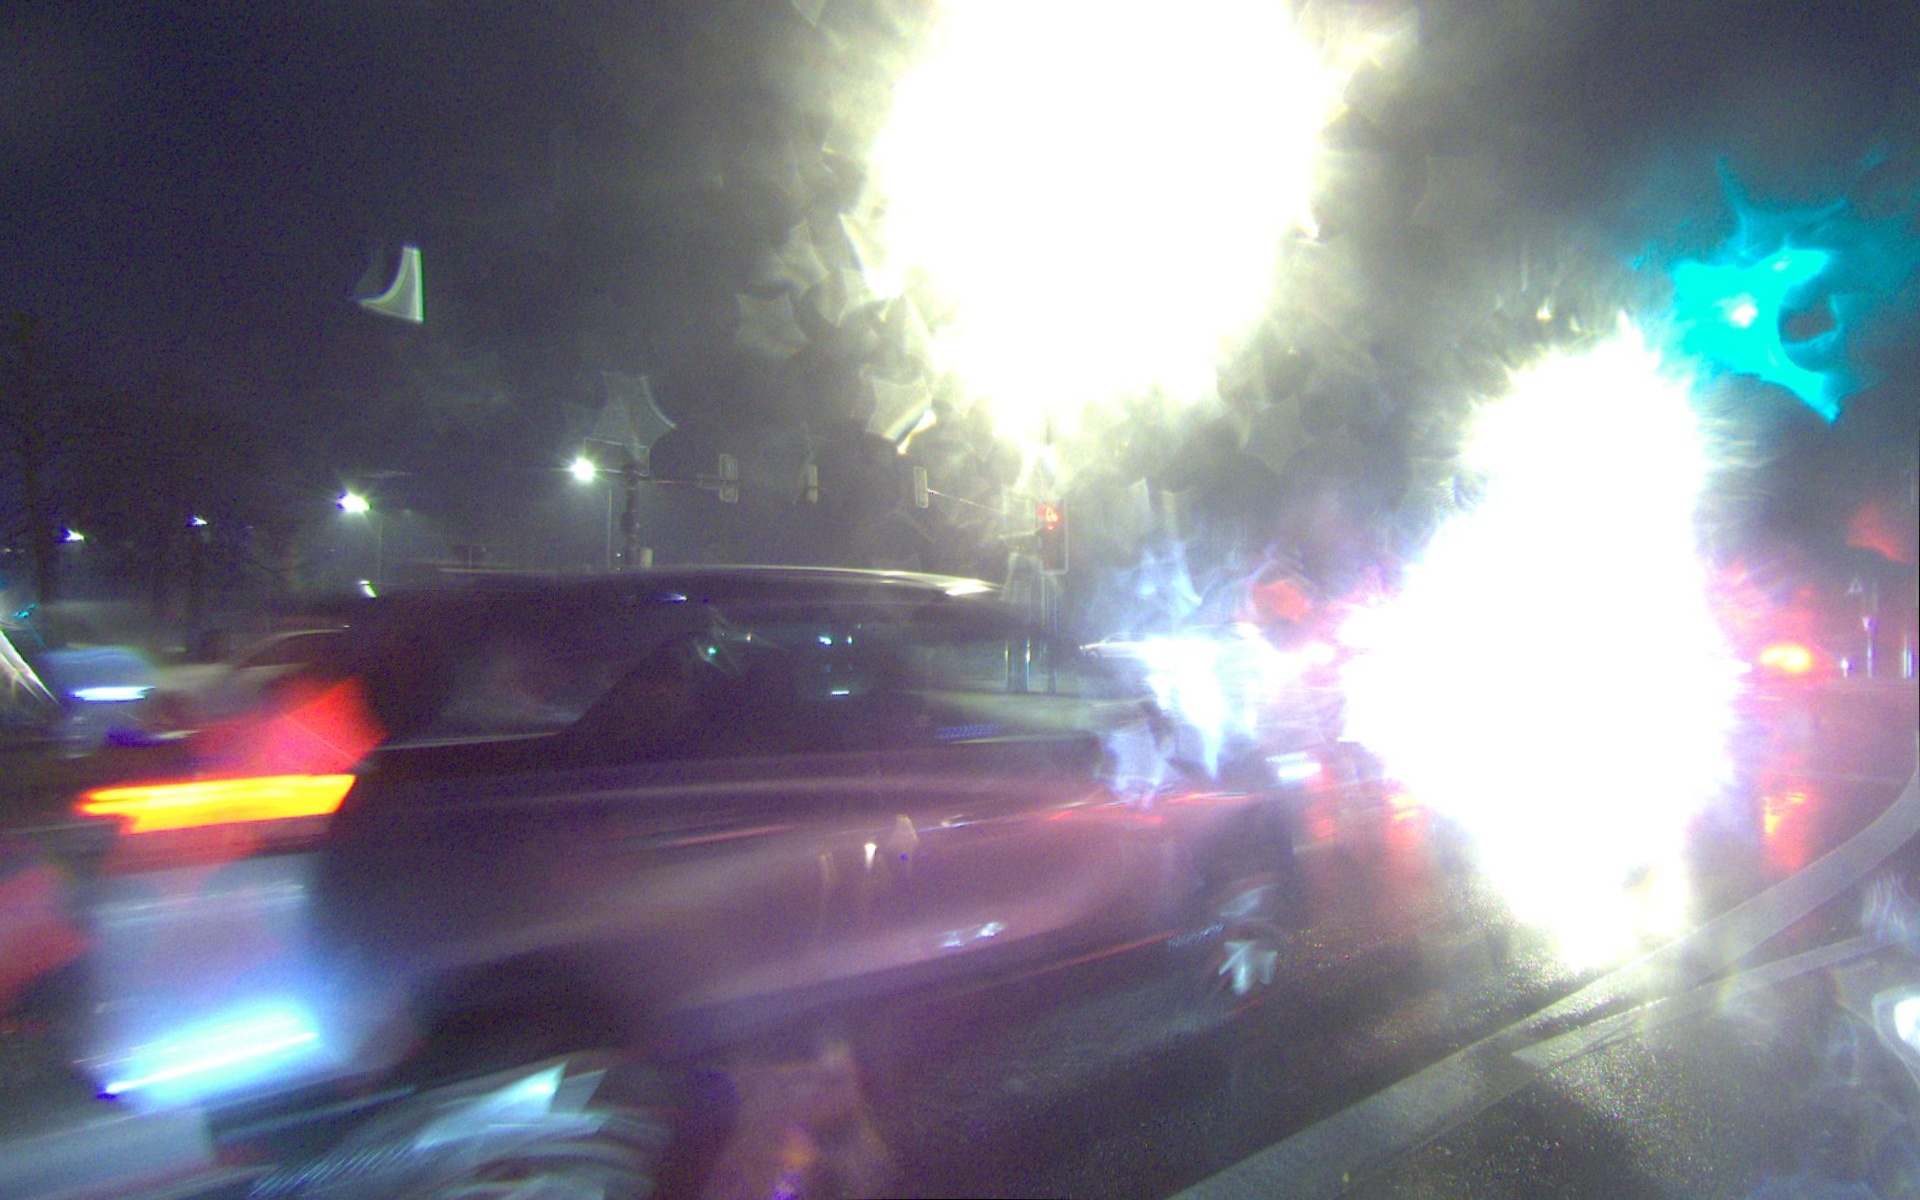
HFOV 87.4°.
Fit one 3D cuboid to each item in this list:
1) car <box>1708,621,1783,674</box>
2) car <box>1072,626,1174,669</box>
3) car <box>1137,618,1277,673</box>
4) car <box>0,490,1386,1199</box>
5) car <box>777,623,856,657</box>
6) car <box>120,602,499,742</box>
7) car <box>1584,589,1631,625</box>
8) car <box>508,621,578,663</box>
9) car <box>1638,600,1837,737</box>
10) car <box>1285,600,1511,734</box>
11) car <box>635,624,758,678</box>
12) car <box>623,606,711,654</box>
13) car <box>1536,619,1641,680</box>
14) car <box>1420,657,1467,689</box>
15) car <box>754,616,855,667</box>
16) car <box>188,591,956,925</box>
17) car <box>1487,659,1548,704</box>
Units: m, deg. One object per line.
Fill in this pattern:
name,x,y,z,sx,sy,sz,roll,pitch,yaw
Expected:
car,24.087,1.441,30.750,1.679,1.482,4.294,0,-2,40
car,7.262,2.088,45.020,4.210,1.740,1.933,1,0,0
car,7.421,1.308,29.912,1.907,1.482,4.758,1,0,44
car,-0.454,0.698,3.469,3.987,1.613,1.836,2,-1,-38
car,-7.335,2.024,51.229,3.641,1.540,1.714,1,0,27
car,-9.353,0.978,14.690,4.423,1.743,1.885,2,-3,-40
car,39.616,0.463,61.431,1.756,2.106,3.978,2,0,42
car,-21.470,2.130,51.710,3.551,1.964,1.707,1,-1,36
car,11.511,0.875,14.756,1.809,1.675,4.452,2,1,44
car,6.529,0.916,14.758,1.888,1.680,3.965,0,-2,42
car,-9.213,1.714,34.981,4.191,1.654,1.951,1,0,37
car,-13.457,1.340,46.070,4.080,2.051,1.787,1,0,37
car,16.324,1.259,26.022,1.637,1.464,3.771,0,-2,43
car,30.620,4.606,63.568,1.748,1.795,3.980,1,0,40
car,-6.290,1.632,40.437,4.080,1.878,1.661,1,0,37
car,-2.218,0.733,6.411,4.254,1.455,1.722,2,0,-39
car,28.685,4.140,51.669,1.794,2.040,3.977,1,-1,43
